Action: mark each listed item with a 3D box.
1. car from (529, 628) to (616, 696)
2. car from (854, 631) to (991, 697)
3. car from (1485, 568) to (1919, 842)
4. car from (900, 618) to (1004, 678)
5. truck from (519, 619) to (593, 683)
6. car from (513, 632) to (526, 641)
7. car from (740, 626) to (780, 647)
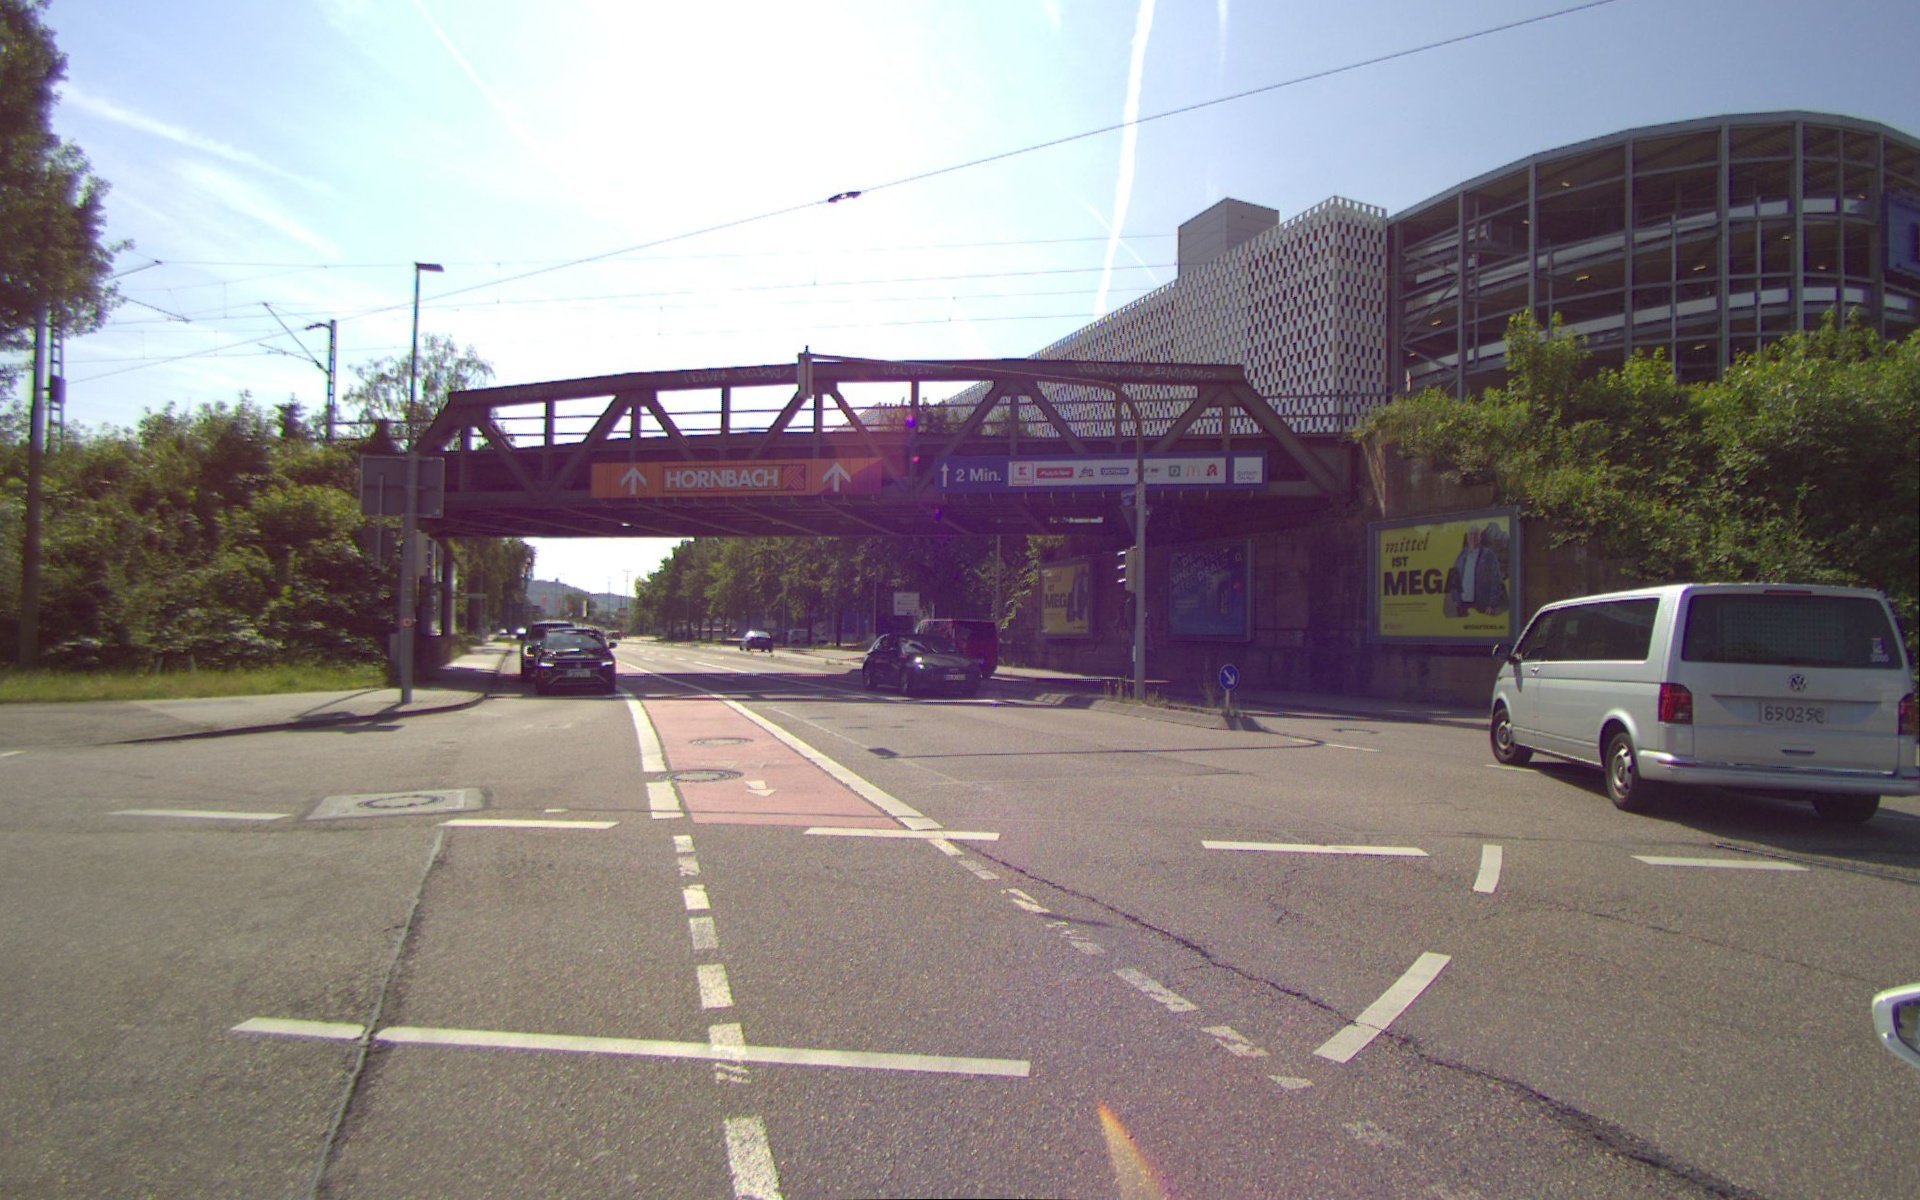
[{"bbox_3d":[-9.723,1.464,25.032,1.798,1.500,3.920,0,-1,-24],"label":"car"},{"bbox_3d":[-1.011,1.480,24.094,1.748,1.413,4.308,2,-2,-25],"label":"car"},{"bbox_3d":[6.966,0.848,9.982,1.908,1.997,5.025,1,-2,13],"label":"car"},{"bbox_3d":[-0.356,1.654,35.312,1.948,1.950,4.532,2,-2,-25],"label":"car"},{"bbox_3d":[-13.138,1.564,32.464,2.004,1.844,5.294,0,-1,-24],"label":"truck"},{"bbox_3d":[-82.862,6.898,188.853,1.949,1.512,4.054,2,-2,-27],"label":"car"},{"bbox_3d":[-14.254,2.586,71.394,1.768,1.415,4.298,2,-2,-25],"label":"car"}]
